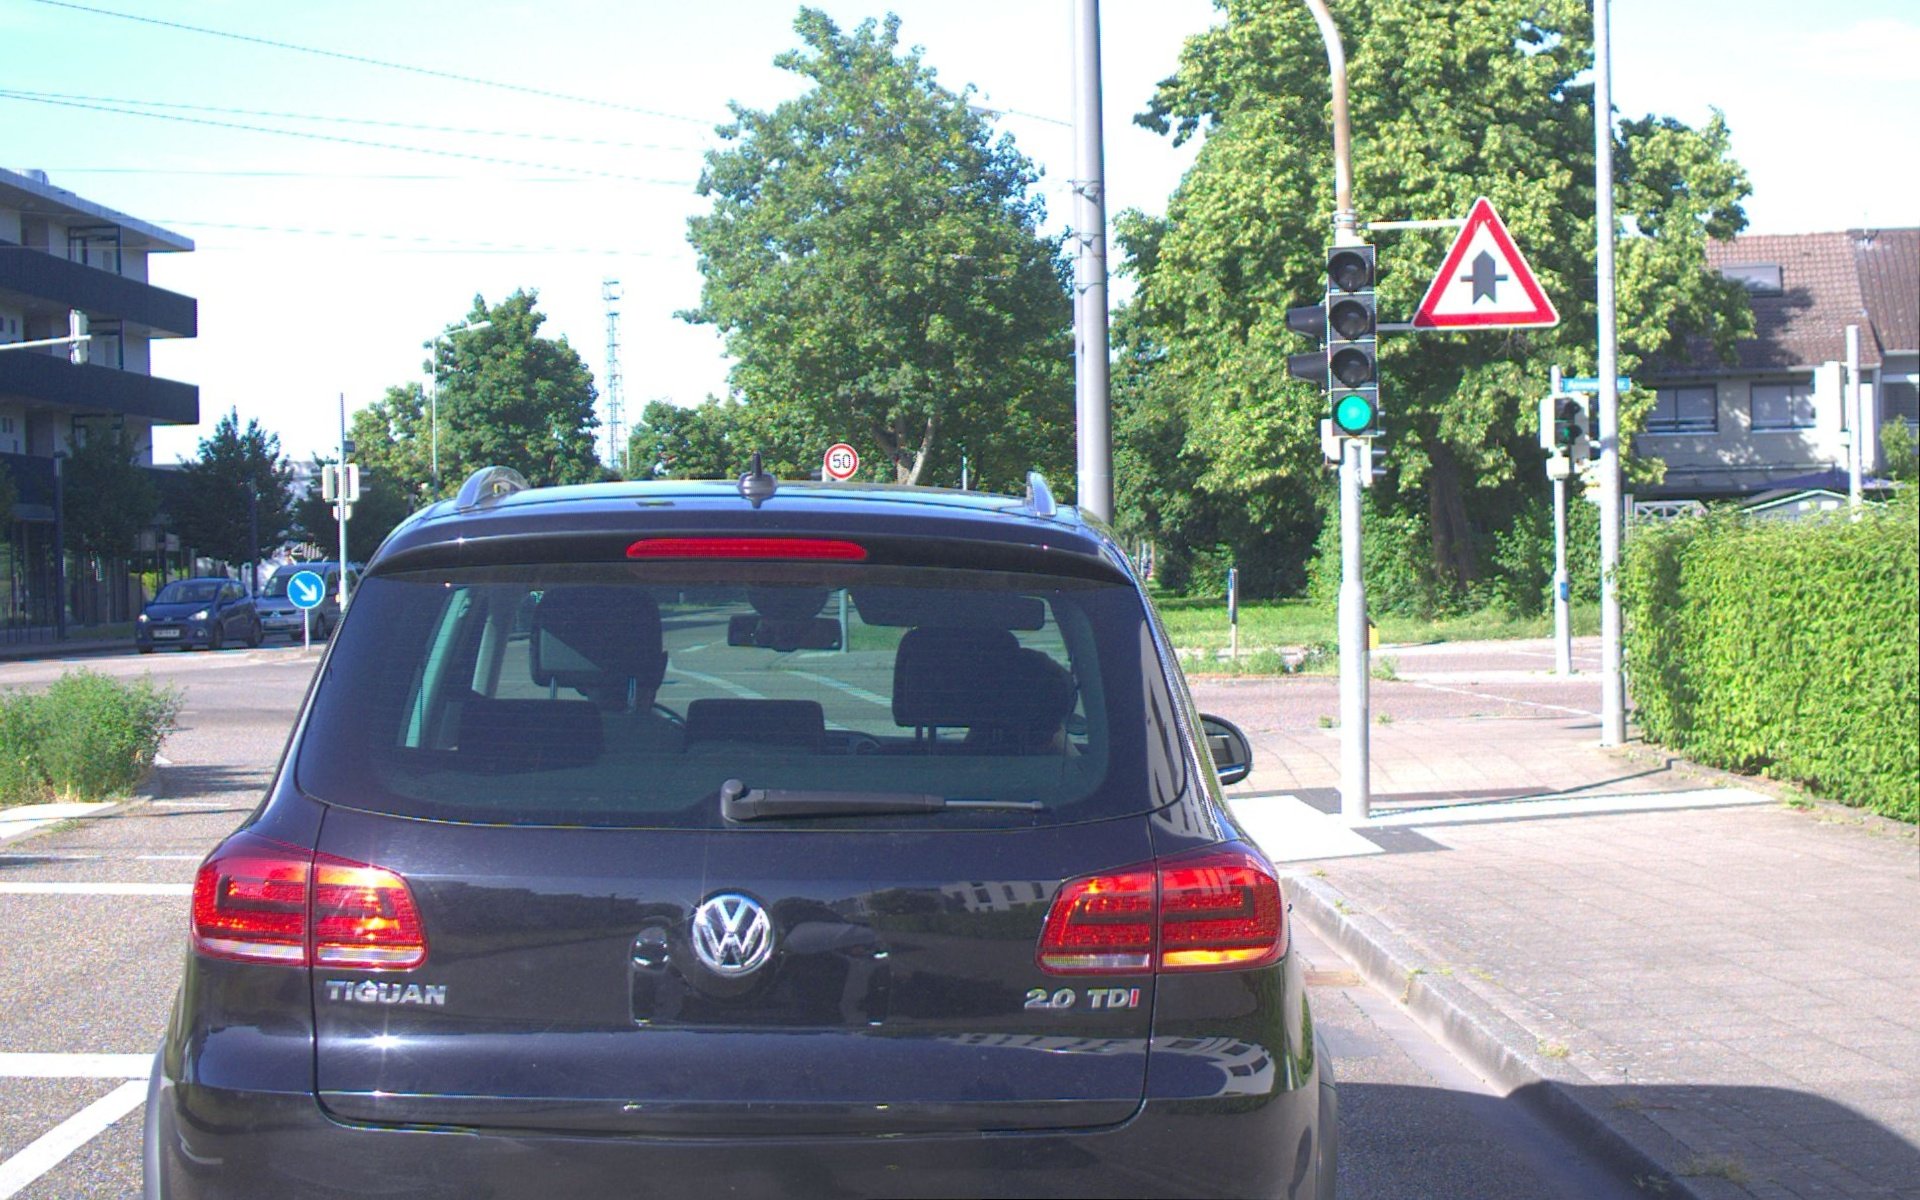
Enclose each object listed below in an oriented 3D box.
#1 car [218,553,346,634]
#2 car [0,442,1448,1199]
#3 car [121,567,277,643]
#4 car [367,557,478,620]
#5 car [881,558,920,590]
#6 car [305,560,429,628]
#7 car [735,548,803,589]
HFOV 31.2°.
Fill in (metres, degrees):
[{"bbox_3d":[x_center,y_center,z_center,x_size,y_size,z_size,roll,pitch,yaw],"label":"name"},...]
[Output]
[{"bbox_3d":[-15.387,-0.165,78.210,1.993,1.749,4.362,-1,1,0],"label":"car"},{"bbox_3d":[-0.398,0.606,6.850,1.929,1.649,4.515,1,1,-2],"label":"car"},{"bbox_3d":[-15.722,0.087,71.227,1.696,1.451,4.451,-1,1,8],"label":"car"},{"bbox_3d":[-13.913,-0.313,89.237,1.967,1.529,4.740,-1,1,2],"label":"car"},{"bbox_3d":[-3.434,-1.495,198.400,1.993,1.731,5.199,-1,1,2],"label":"car"},{"bbox_3d":[-14.350,-0.154,83.377,1.994,1.482,3.543,-3,1,6],"label":"car"},{"bbox_3d":[-7.627,-1.284,137.674,1.994,1.566,3.999,-1,1,8],"label":"car"}]
